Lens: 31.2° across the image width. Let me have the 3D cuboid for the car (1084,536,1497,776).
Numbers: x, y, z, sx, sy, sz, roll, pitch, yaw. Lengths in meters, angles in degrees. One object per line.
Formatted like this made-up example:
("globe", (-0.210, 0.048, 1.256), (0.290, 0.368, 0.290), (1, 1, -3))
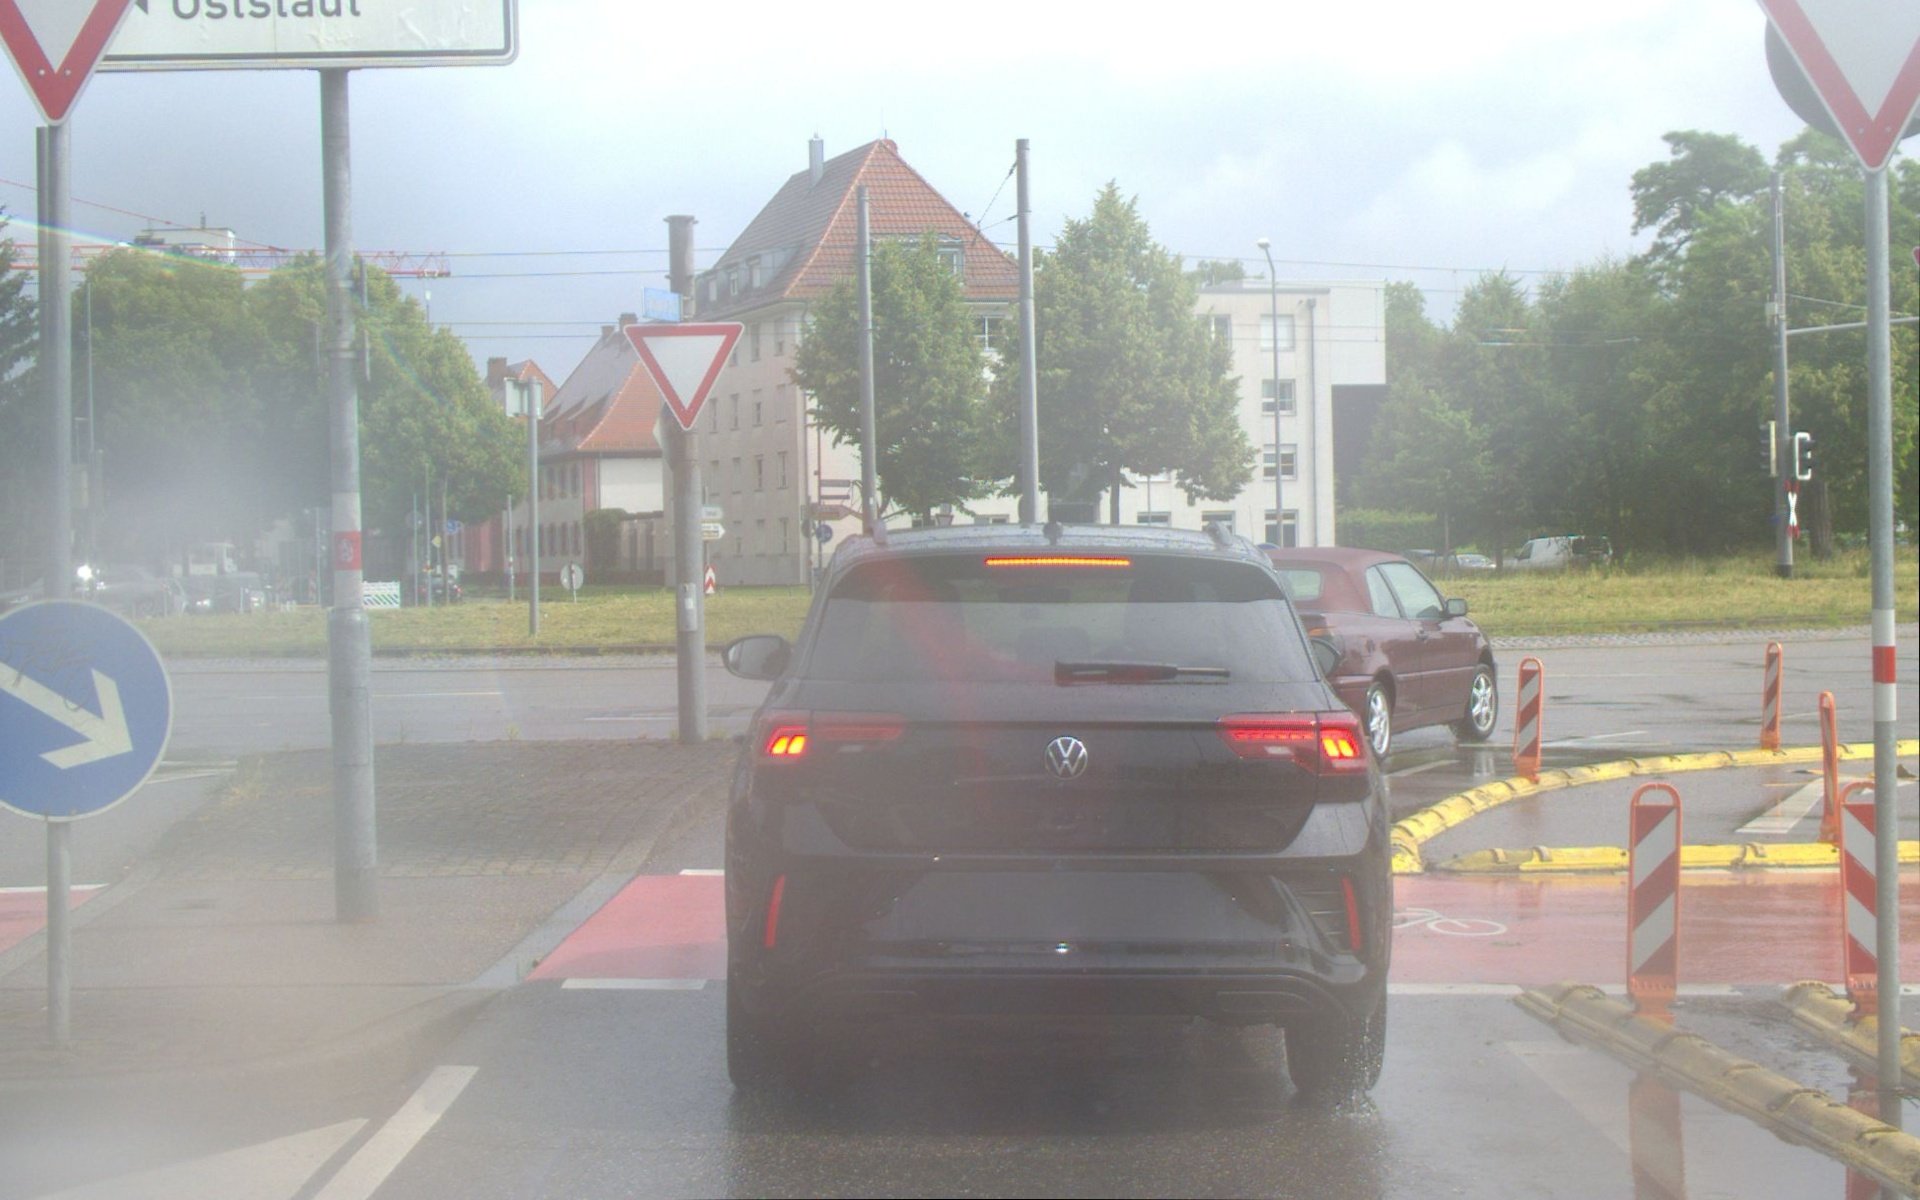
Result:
("car", (2.361, 0.328, 23.775), (1.737, 1.509, 3.599), (0, 1, 25))

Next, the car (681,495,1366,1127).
("car", (0.074, 0.504, 10.418), (1.708, 1.568, 3.683), (0, 1, -3))
